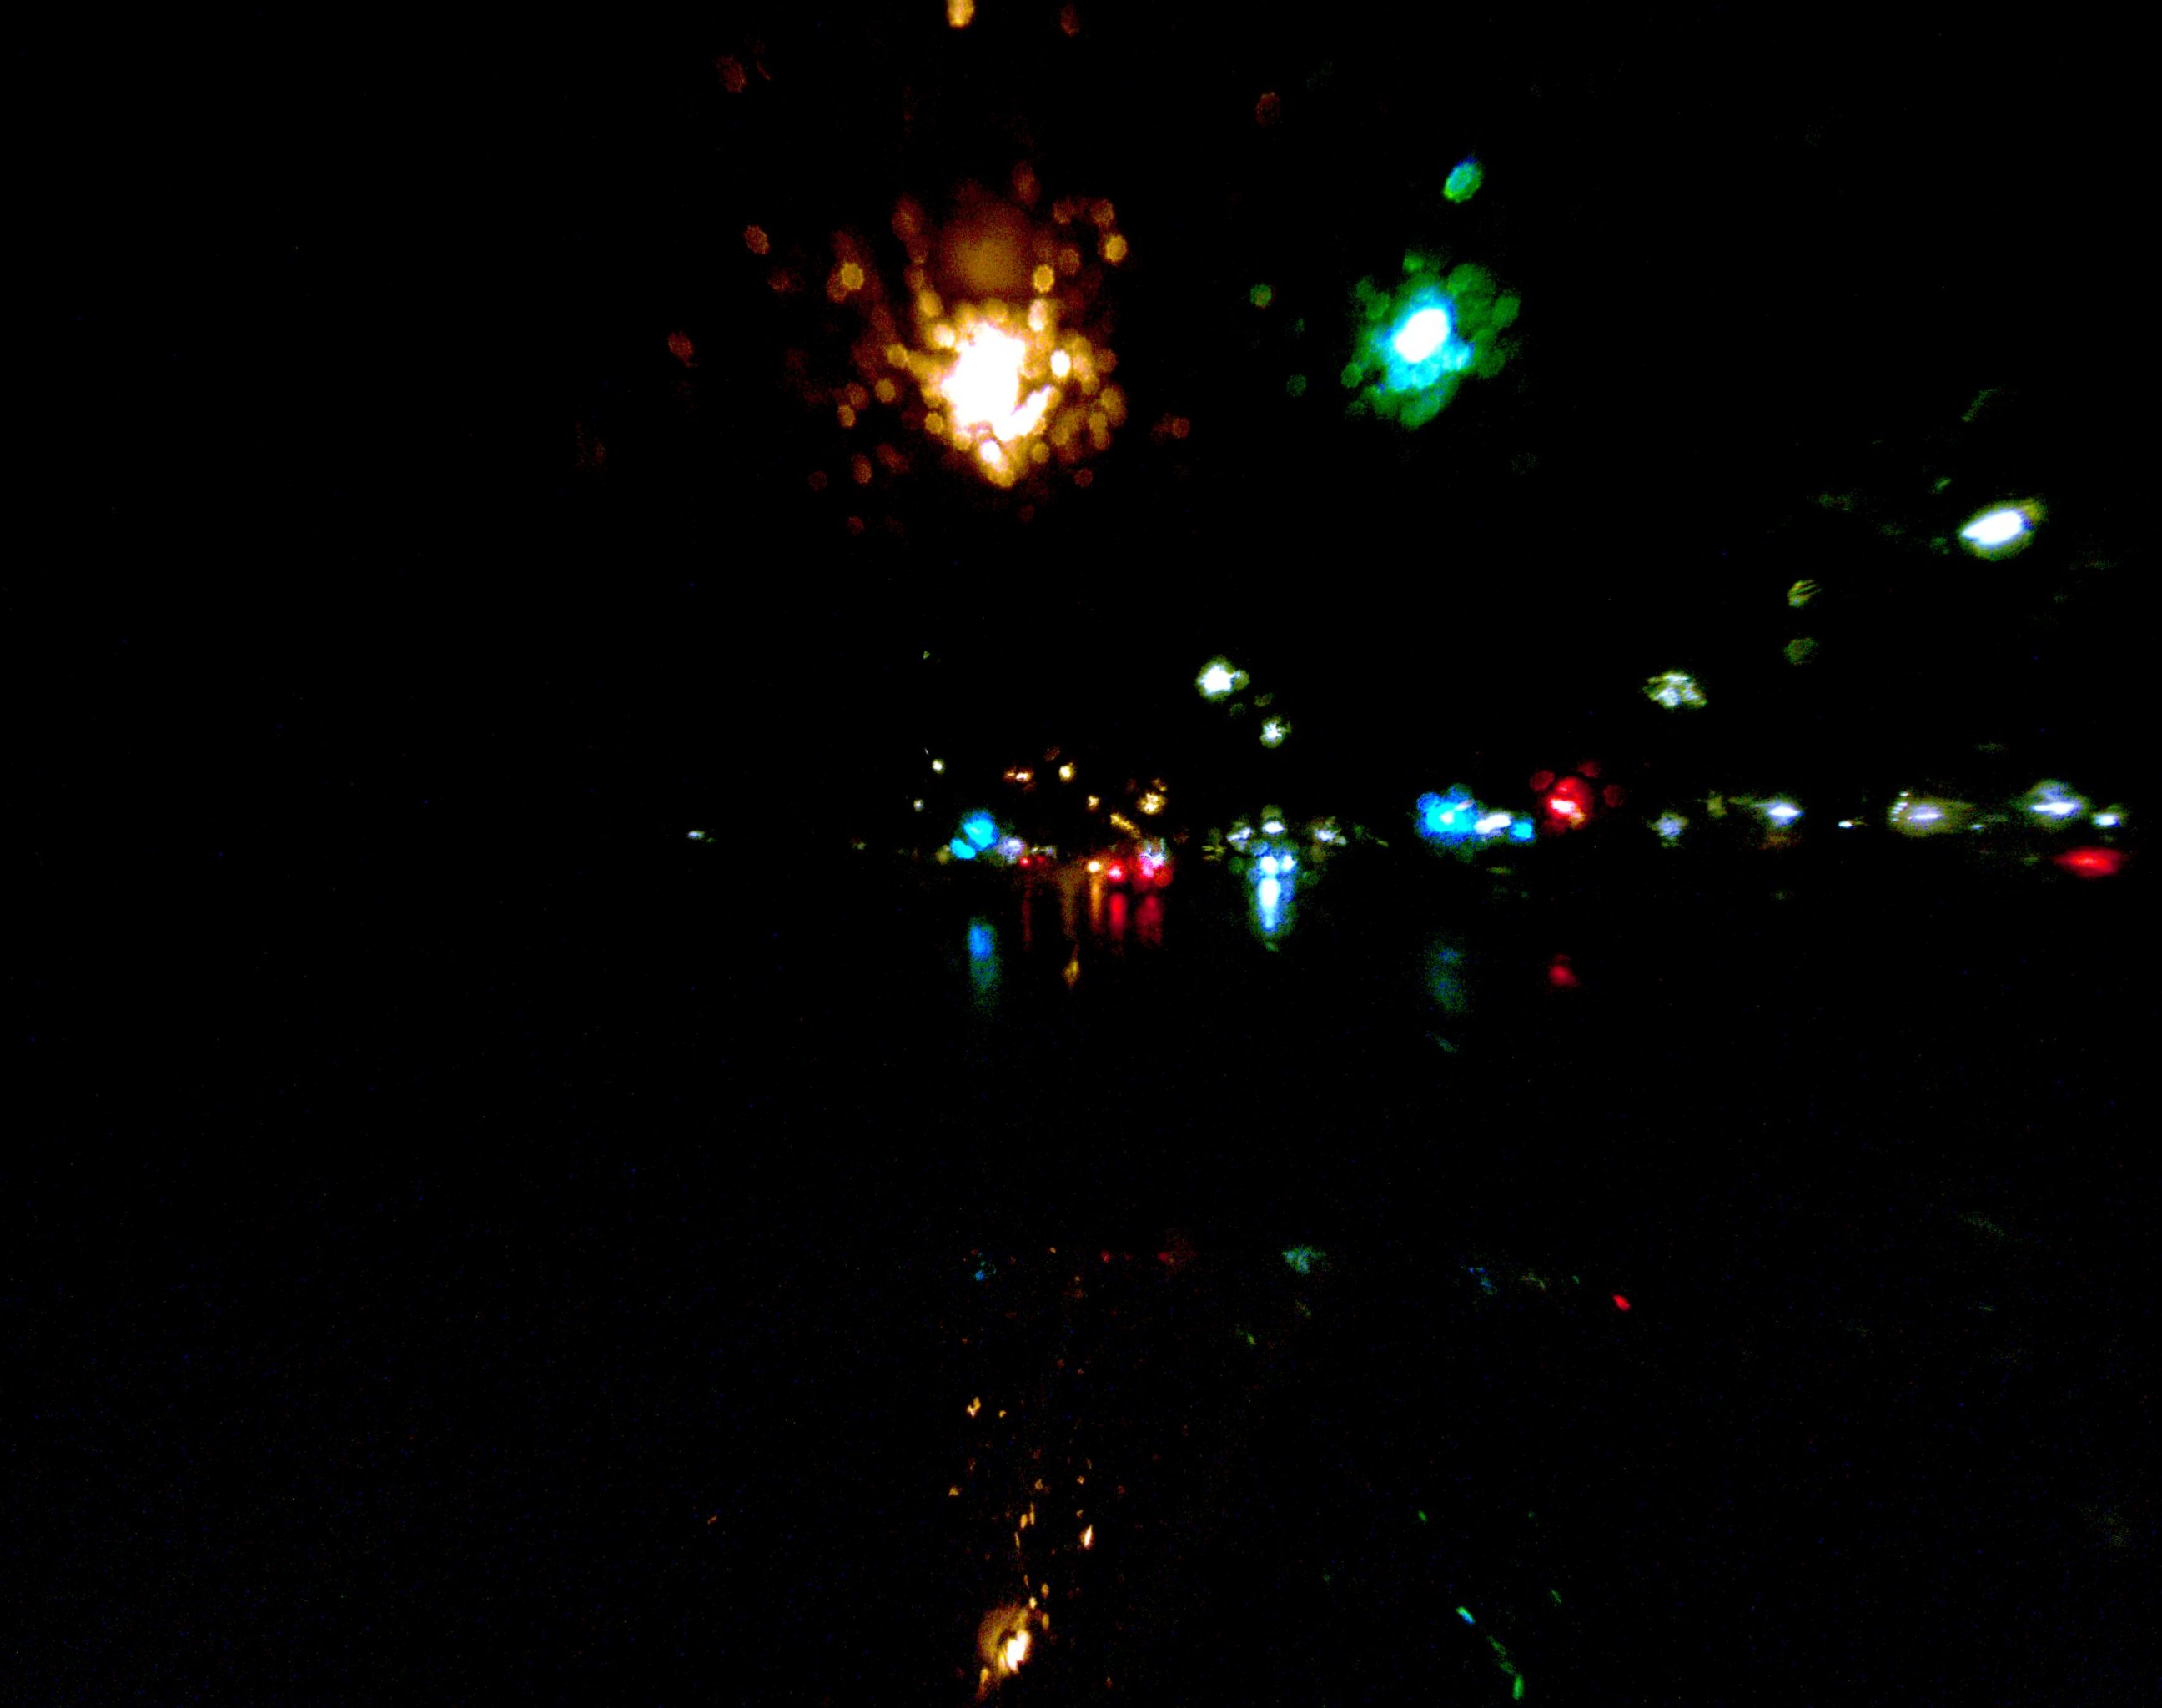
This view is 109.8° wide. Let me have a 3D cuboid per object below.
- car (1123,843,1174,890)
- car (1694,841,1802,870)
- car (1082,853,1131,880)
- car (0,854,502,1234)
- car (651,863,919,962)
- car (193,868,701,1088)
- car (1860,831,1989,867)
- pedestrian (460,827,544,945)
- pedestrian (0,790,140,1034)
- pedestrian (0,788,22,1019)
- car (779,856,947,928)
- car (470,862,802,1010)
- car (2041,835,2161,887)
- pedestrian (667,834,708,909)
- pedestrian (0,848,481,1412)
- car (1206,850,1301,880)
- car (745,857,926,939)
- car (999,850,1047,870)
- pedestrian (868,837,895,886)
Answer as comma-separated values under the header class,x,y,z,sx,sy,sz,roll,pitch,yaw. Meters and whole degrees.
class,x,y,z,sx,sy,sz,roll,pitch,yaw
car,2.691,0.470,31.125,1.810,1.759,4.272,-2,0,2
car,37.231,0.078,42.539,4.210,1.557,1.853,0,1,27
car,1.357,0.669,42.541,1.829,1.417,4.202,-1,0,-11
car,-5.607,0.860,3.993,3.808,1.679,1.832,-1,1,-28
car,-5.109,0.913,13.357,4.123,1.483,1.590,0,0,-36
car,-5.694,0.965,7.335,3.403,1.552,1.634,-1,1,-35
car,43.288,-0.234,39.132,3.989,1.761,2.004,0,1,28
pedestrian,-9.047,0.496,11.899,0.657,1.779,0.784,1,-1,1
pedestrian,-8.469,0.442,6.073,0.747,1.829,0.871,1,-1,1
pedestrian,-9.247,0.395,5.918,0.747,1.892,0.843,1,-1,1
car,-5.369,0.866,18.867,3.608,1.552,1.707,-1,1,-37
car,-5.684,0.925,10.012,3.488,1.552,1.633,-1,1,-32
car,30.984,0.183,21.247,4.717,1.417,2.004,-1,0,31
pedestrian,-8.865,0.396,17.126,0.575,1.654,0.601,1,-1,1
pedestrian,-3.244,0.865,2.955,0.824,1.760,1.177,-1,1,1
car,8.780,0.511,39.172,2.003,1.417,5.057,-1,1,-28
car,-5.241,0.875,16.336,3.403,1.583,1.590,0,0,-35
car,-4.391,0.442,57.396,1.628,1.417,4.195,-1,1,-36
pedestrian,-7.952,0.310,30.351,0.806,1.894,0.884,1,-1,1
